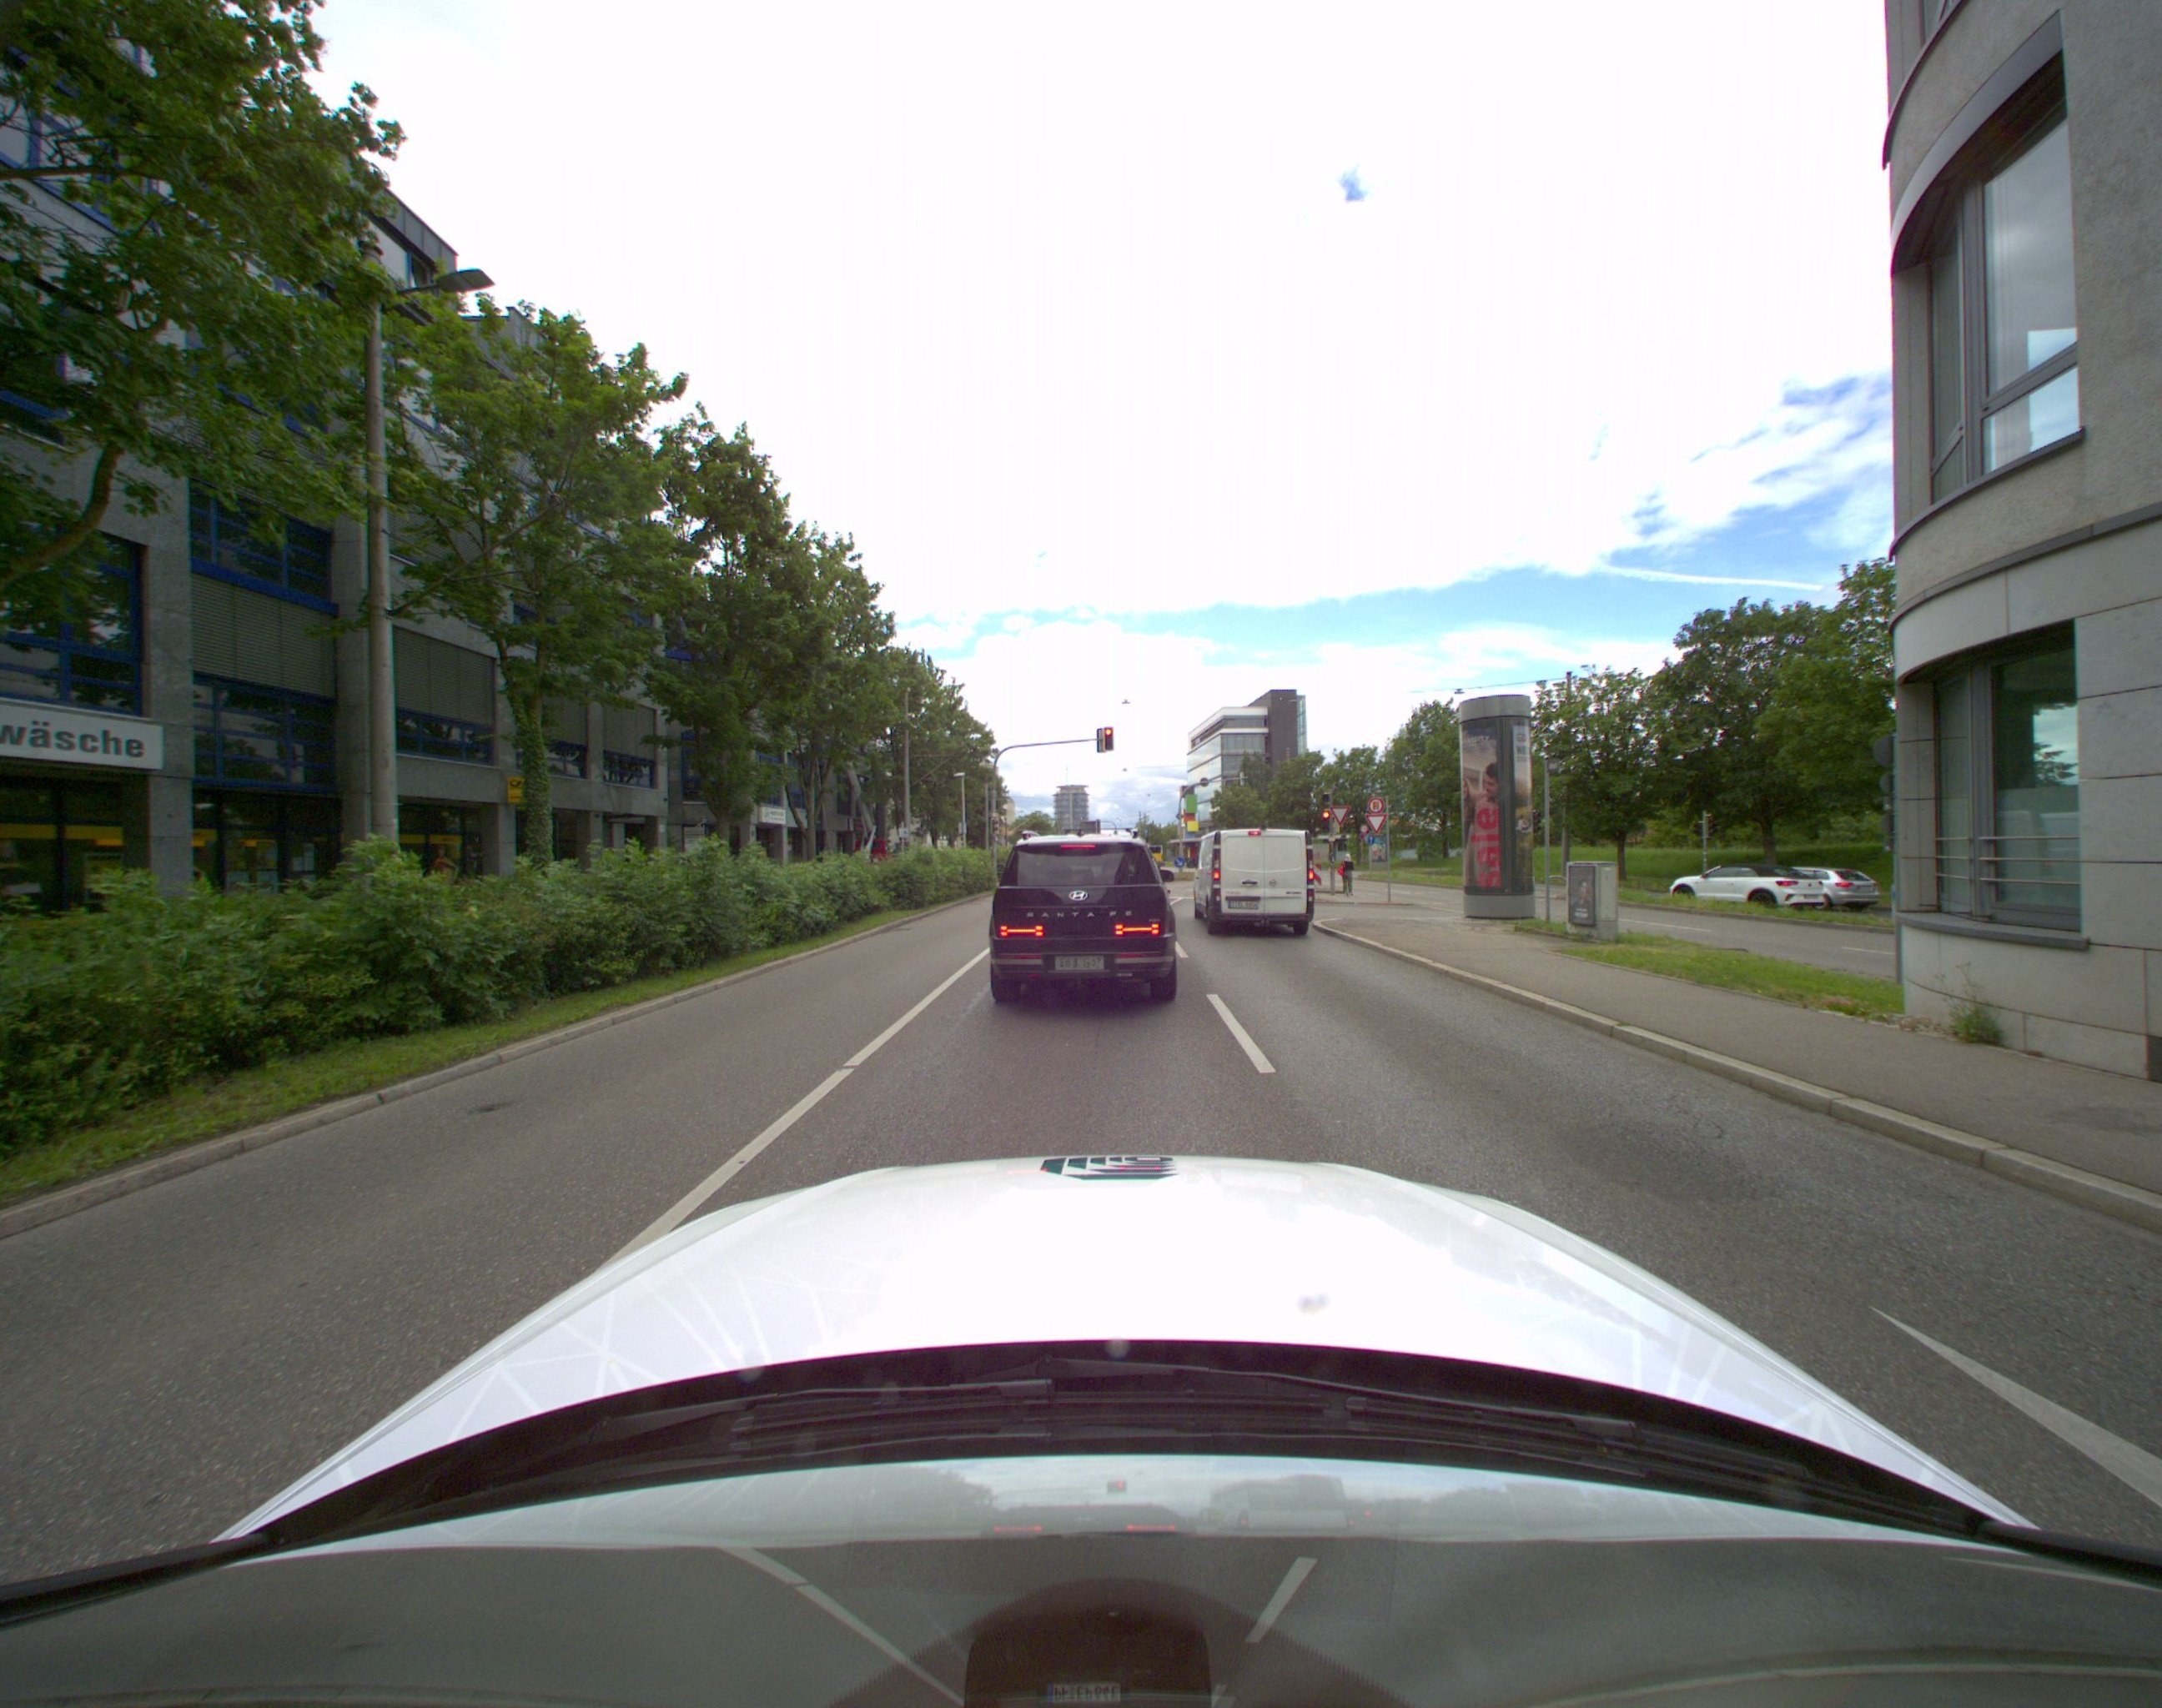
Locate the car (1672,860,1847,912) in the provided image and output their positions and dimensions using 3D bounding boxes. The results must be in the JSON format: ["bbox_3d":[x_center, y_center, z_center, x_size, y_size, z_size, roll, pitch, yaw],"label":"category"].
[{"bbox_3d":[21.819,0.985,26.409,1.995,1.453,3.985,1,1,-11],"label":"car"}]

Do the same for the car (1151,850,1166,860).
[{"bbox_3d":[12.923,0.170,135.816,1.988,1.684,3.998,-1,-1,-1],"label":"car"}]

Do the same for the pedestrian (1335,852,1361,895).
[{"bbox_3d":[10.052,0.726,30.646,0.744,1.584,0.567,1,0,-38],"label":"pedestrian"}]

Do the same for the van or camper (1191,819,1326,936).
[{"bbox_3d":[3.399,0.404,16.535,1.985,2.013,4.657,-1,0,3],"label":"van or camper"}]

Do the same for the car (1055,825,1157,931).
[{"bbox_3d":[0.536,0.461,17.634,1.908,2.003,3.881,-1,0,1],"label":"car"}]

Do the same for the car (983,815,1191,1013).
[{"bbox_3d":[0.111,0.542,9.371,1.862,1.760,3.881,-1,0,2],"label":"car"}]

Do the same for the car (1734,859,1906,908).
[{"bbox_3d":[25.148,0.968,27.916,1.995,1.453,3.985,1,1,-11],"label":"car"}]

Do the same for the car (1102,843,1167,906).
[{"bbox_3d":[1.602,0.586,24.677,1.768,1.717,4.342,-1,-1,3],"label":"car"}]

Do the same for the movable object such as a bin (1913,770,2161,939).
[{"bbox_3d":[26.333,0.006,19.649,2.860,3.903,8.536,0,-1,-12],"label":"movable object such as a bin"}]

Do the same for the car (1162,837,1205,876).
[{"bbox_3d":[5.565,0.152,44.594,1.985,2.014,4.003,-1,-1,3],"label":"car"}]
